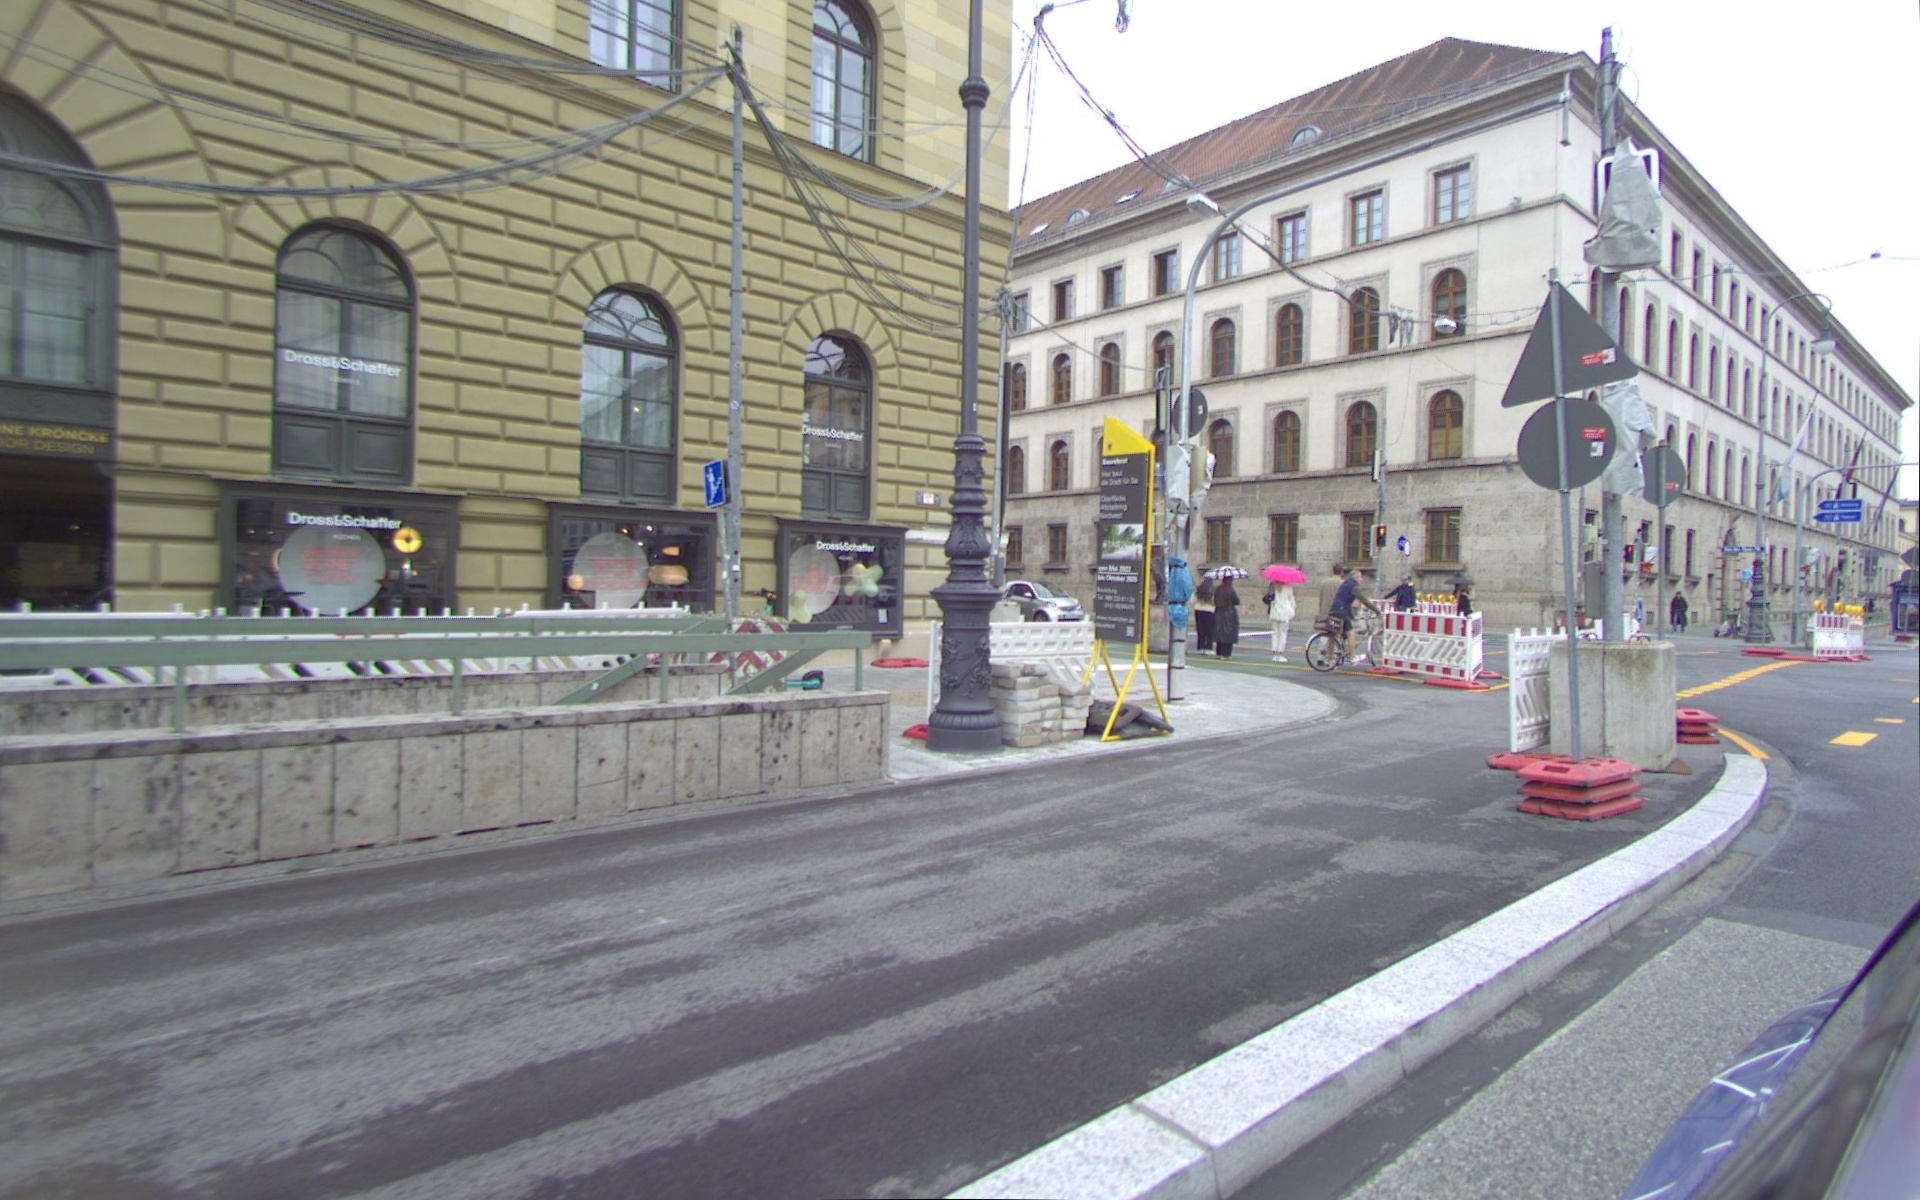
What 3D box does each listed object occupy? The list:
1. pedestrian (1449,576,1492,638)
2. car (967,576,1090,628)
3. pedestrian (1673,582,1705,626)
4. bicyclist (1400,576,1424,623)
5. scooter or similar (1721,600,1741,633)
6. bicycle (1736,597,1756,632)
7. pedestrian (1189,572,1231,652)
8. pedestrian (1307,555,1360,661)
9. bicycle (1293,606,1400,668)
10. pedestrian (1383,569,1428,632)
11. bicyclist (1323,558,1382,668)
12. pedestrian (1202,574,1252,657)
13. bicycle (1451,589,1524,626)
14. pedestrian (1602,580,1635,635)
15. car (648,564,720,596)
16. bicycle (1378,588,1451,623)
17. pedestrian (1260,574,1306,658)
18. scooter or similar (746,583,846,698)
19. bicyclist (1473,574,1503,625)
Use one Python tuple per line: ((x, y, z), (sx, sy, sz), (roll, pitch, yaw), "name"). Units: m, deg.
((14.885, 0.191, 29.516), (0.829, 1.794, 0.740), (-1, 1, -28), "pedestrian")
((2.124, 0.005, 32.253), (1.606, 1.522, 3.995), (-1, 2, -40), "car")
((28.532, 0.157, 39.623), (0.713, 1.674, 0.739), (0, 4, -38), "pedestrian")
((17.154, -0.039, 38.389), (0.684, 1.770, 0.790), (1, 1, 36), "bicyclist")
((28.853, 0.597, 37.870), (0.380, 1.158, 1.958), (1, 2, 43), "scooter or similar")
((29.228, 0.523, 37.612), (0.380, 1.258, 1.958), (1, 2, 43), "bicycle")
((5.244, 0.237, 21.214), (0.523, 1.640, 0.673), (-1, 1, -38), "pedestrian")
((6.880, 0.137, 18.655), (0.691, 1.908, 0.641), (-1, 1, -36), "pedestrian")
((6.705, 0.637, 17.609), (1.626, 1.024, 0.586), (0, 1, 2), "bicycle")
((12.650, 0.007, 28.730), (1.038, 1.765, 0.507), (1, 1, 40), "pedestrian")
((6.819, 0.209, 17.598), (0.784, 1.877, 0.568), (0, 1, 2), "bicyclist")
((5.229, 0.290, 19.832), (0.692, 1.586, 0.681), (-1, 1, -38), "pedestrian")
((18.944, 0.259, 36.399), (0.775, 1.258, 2.199), (-1, 2, -36), "bicycle")
((21.057, 0.226, 32.346), (0.735, 1.674, 0.717), (5, 4, 37), "pedestrian")
((-14.391, -1.072, 52.646), (1.965, 1.577, 4.382), (0, 1, -41), "car")
((17.210, 0.203, 38.353), (2.434, 1.258, 0.779), (1, 2, 37), "bicycle")
((6.227, 0.291, 19.493), (0.692, 1.586, 0.541), (-1, 1, -38), "pedestrian")
((-1.897, 0.447, 11.788), (1.119, 1.265, 0.351), (-1, 1, -38), "scooter or similar")
((18.965, -0.031, 36.362), (0.786, 1.798, 0.688), (-1, 1, -37), "bicyclist")
